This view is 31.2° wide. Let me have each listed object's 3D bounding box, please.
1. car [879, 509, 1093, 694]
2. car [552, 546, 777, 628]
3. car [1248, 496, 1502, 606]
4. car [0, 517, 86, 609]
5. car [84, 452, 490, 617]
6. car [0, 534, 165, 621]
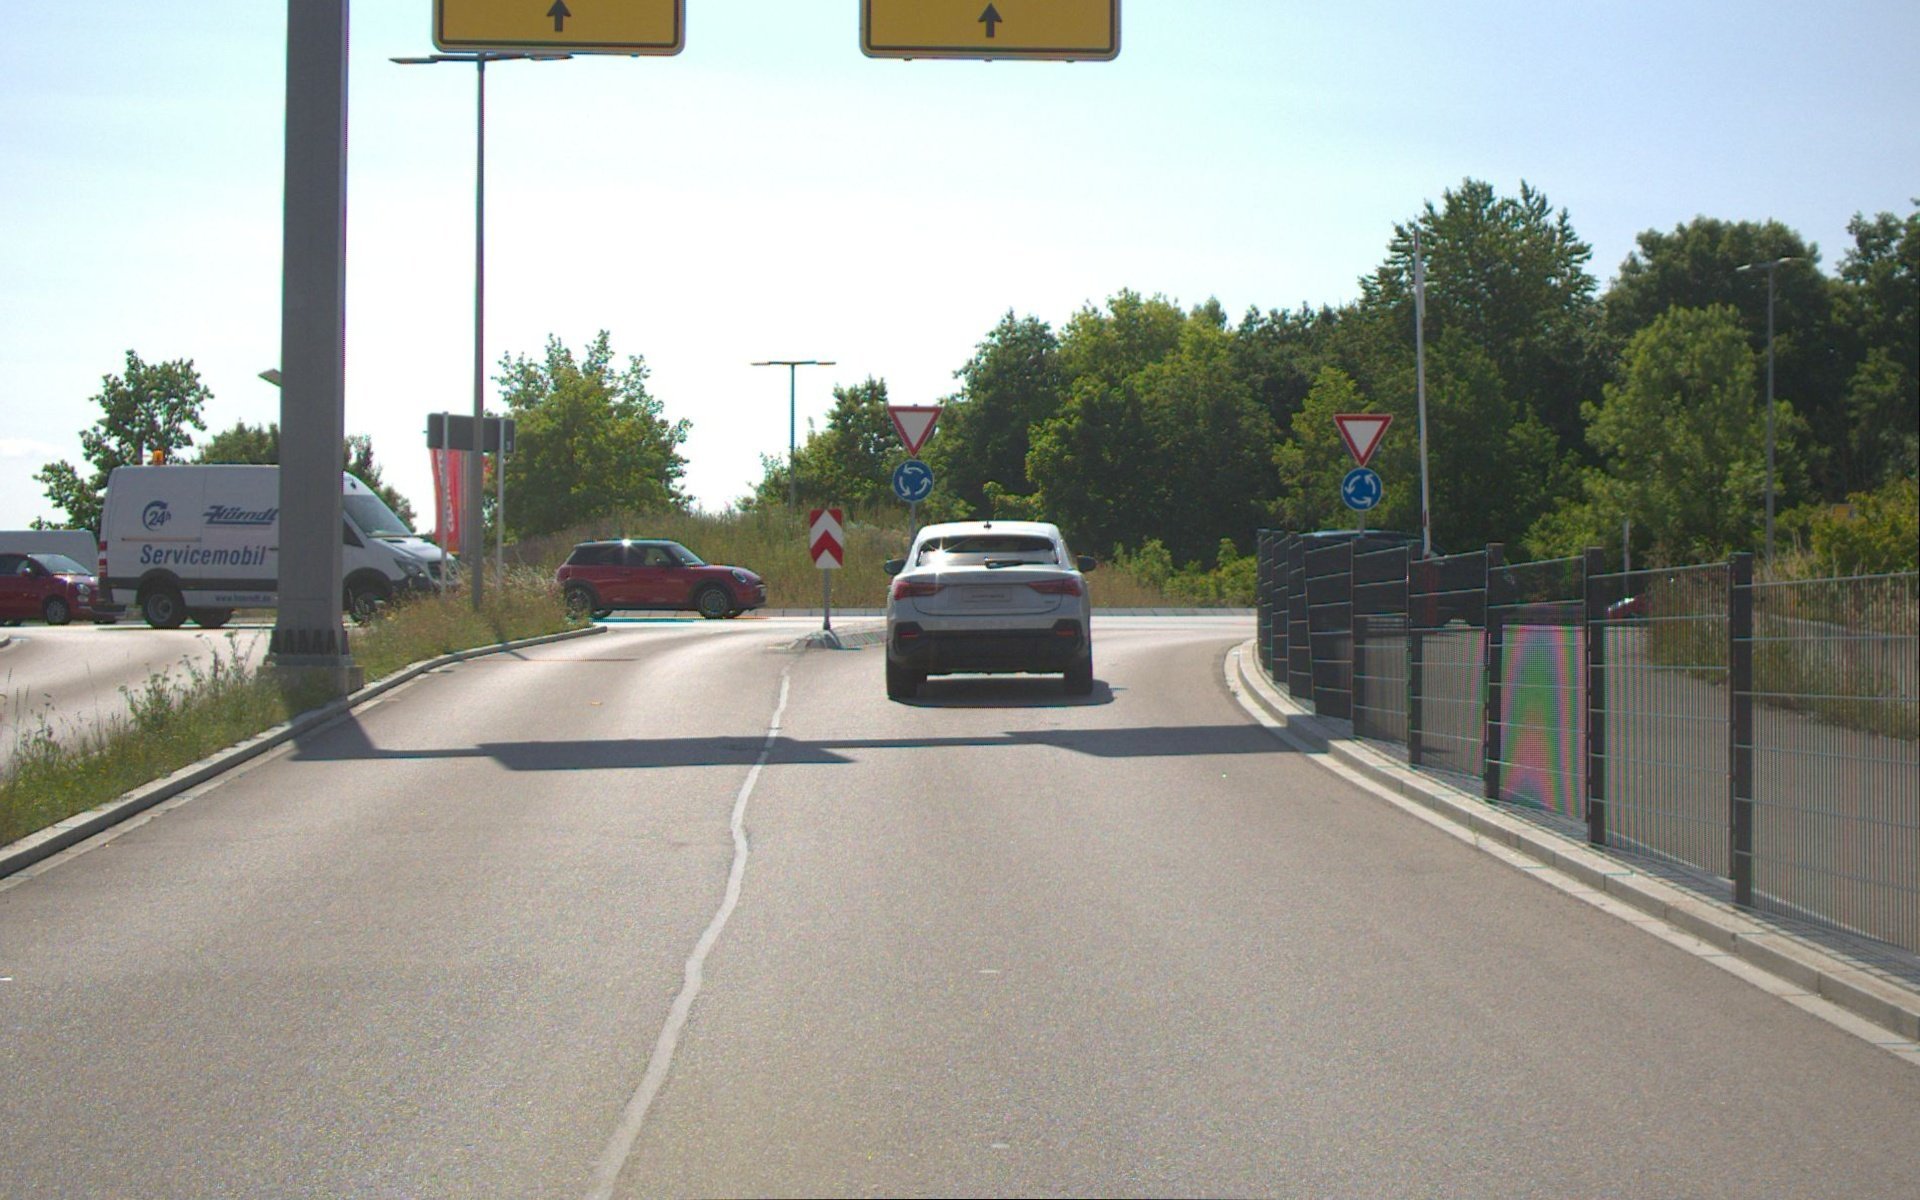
[{"bbox_3d":[0.217,-0.006,31.785,1.841,1.590,4.325,0,1,0],"label":"car"},{"bbox_3d":[-5.372,-0.244,62.730,3.806,1.400,1.626,1,0,7],"label":"car"},{"bbox_3d":[6.824,-0.799,56.806,3.844,1.711,2.000,1,0,-3],"label":"car"},{"bbox_3d":[-24.611,-0.935,83.546,6.256,2.226,2.039,1,1,-42],"label":"car"},{"bbox_3d":[-10.961,-1.074,56.035,6.177,2.545,2.089,1,0,16],"label":"car"},{"bbox_3d":[-17.520,-0.454,66.521,3.727,1.612,1.871,1,0,21],"label":"car"}]
